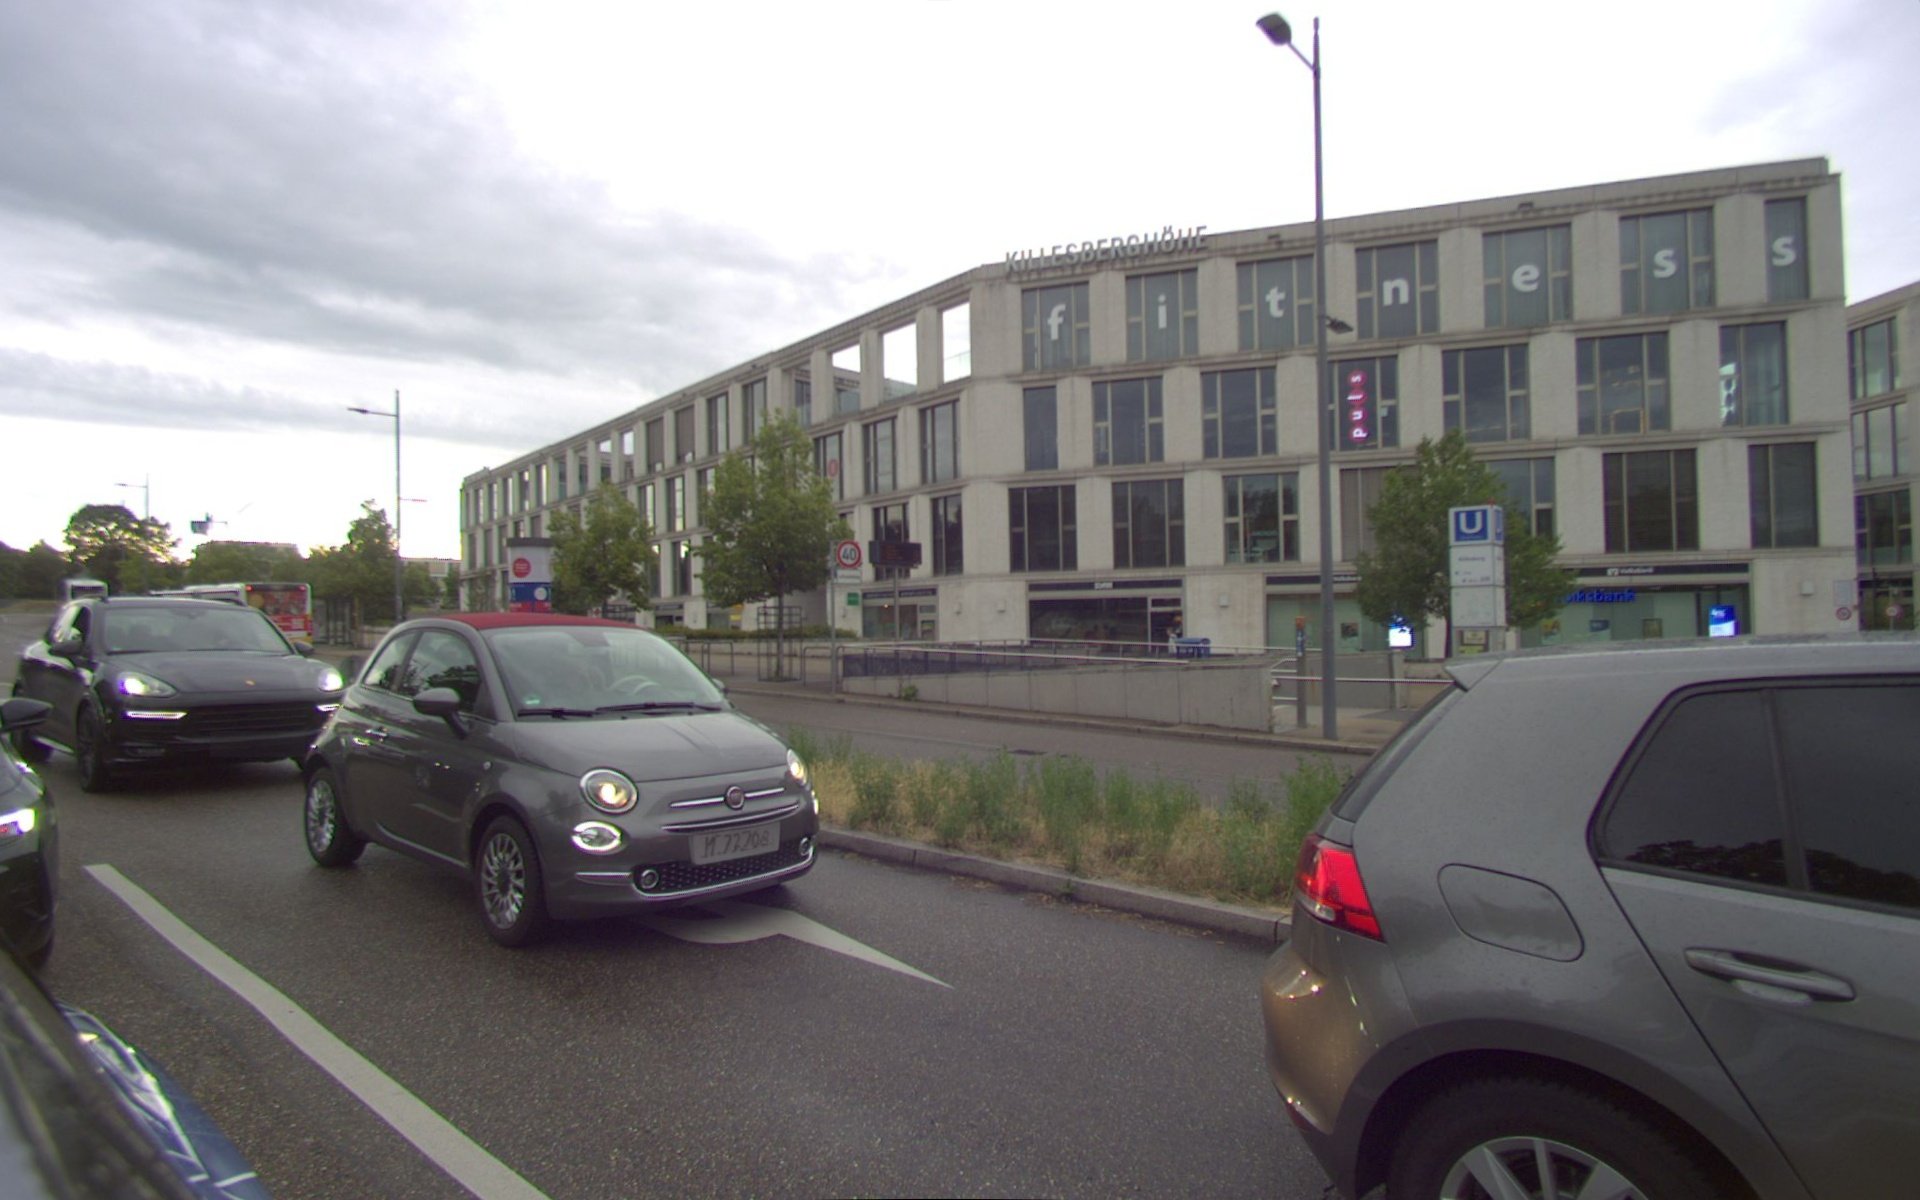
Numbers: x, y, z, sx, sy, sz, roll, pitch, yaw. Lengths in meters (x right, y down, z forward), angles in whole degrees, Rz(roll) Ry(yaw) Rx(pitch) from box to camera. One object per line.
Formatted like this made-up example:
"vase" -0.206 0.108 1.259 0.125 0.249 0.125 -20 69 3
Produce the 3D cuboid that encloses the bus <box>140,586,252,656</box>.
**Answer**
"bus" -38.158 0.987 50.391 9.911 3.205 2.658 -1 0 42

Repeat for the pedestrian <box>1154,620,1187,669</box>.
"pedestrian" 7.102 1.500 34.157 0.912 1.617 0.756 -1 -2 31

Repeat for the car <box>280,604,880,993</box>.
"car" -2.259 0.796 5.647 3.503 1.492 1.611 -1 -2 39

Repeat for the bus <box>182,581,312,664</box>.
"bus" -31.132 0.918 43.983 9.206 3.236 2.723 -1 0 43

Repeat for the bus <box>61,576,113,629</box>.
"bus" -76.488 0.266 88.938 2.717 4.185 19.383 -1 0 -39

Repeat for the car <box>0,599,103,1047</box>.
"car" -5.399 0.764 4.399 4.766 1.476 1.877 -1 0 41

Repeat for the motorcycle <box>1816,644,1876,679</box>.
"motorcycle" 20.411 1.416 23.335 0.517 0.746 1.098 -1 0 9

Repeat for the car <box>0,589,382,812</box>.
"car" -7.581 0.794 9.783 4.612 1.671 1.910 -1 -1 39

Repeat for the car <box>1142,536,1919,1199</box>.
"car" 2.645 0.653 1.558 4.374 1.492 1.797 -1 -2 41

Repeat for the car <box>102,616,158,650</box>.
"car" -46.890 1.829 57.150 3.998 1.800 1.843 -1 0 41
